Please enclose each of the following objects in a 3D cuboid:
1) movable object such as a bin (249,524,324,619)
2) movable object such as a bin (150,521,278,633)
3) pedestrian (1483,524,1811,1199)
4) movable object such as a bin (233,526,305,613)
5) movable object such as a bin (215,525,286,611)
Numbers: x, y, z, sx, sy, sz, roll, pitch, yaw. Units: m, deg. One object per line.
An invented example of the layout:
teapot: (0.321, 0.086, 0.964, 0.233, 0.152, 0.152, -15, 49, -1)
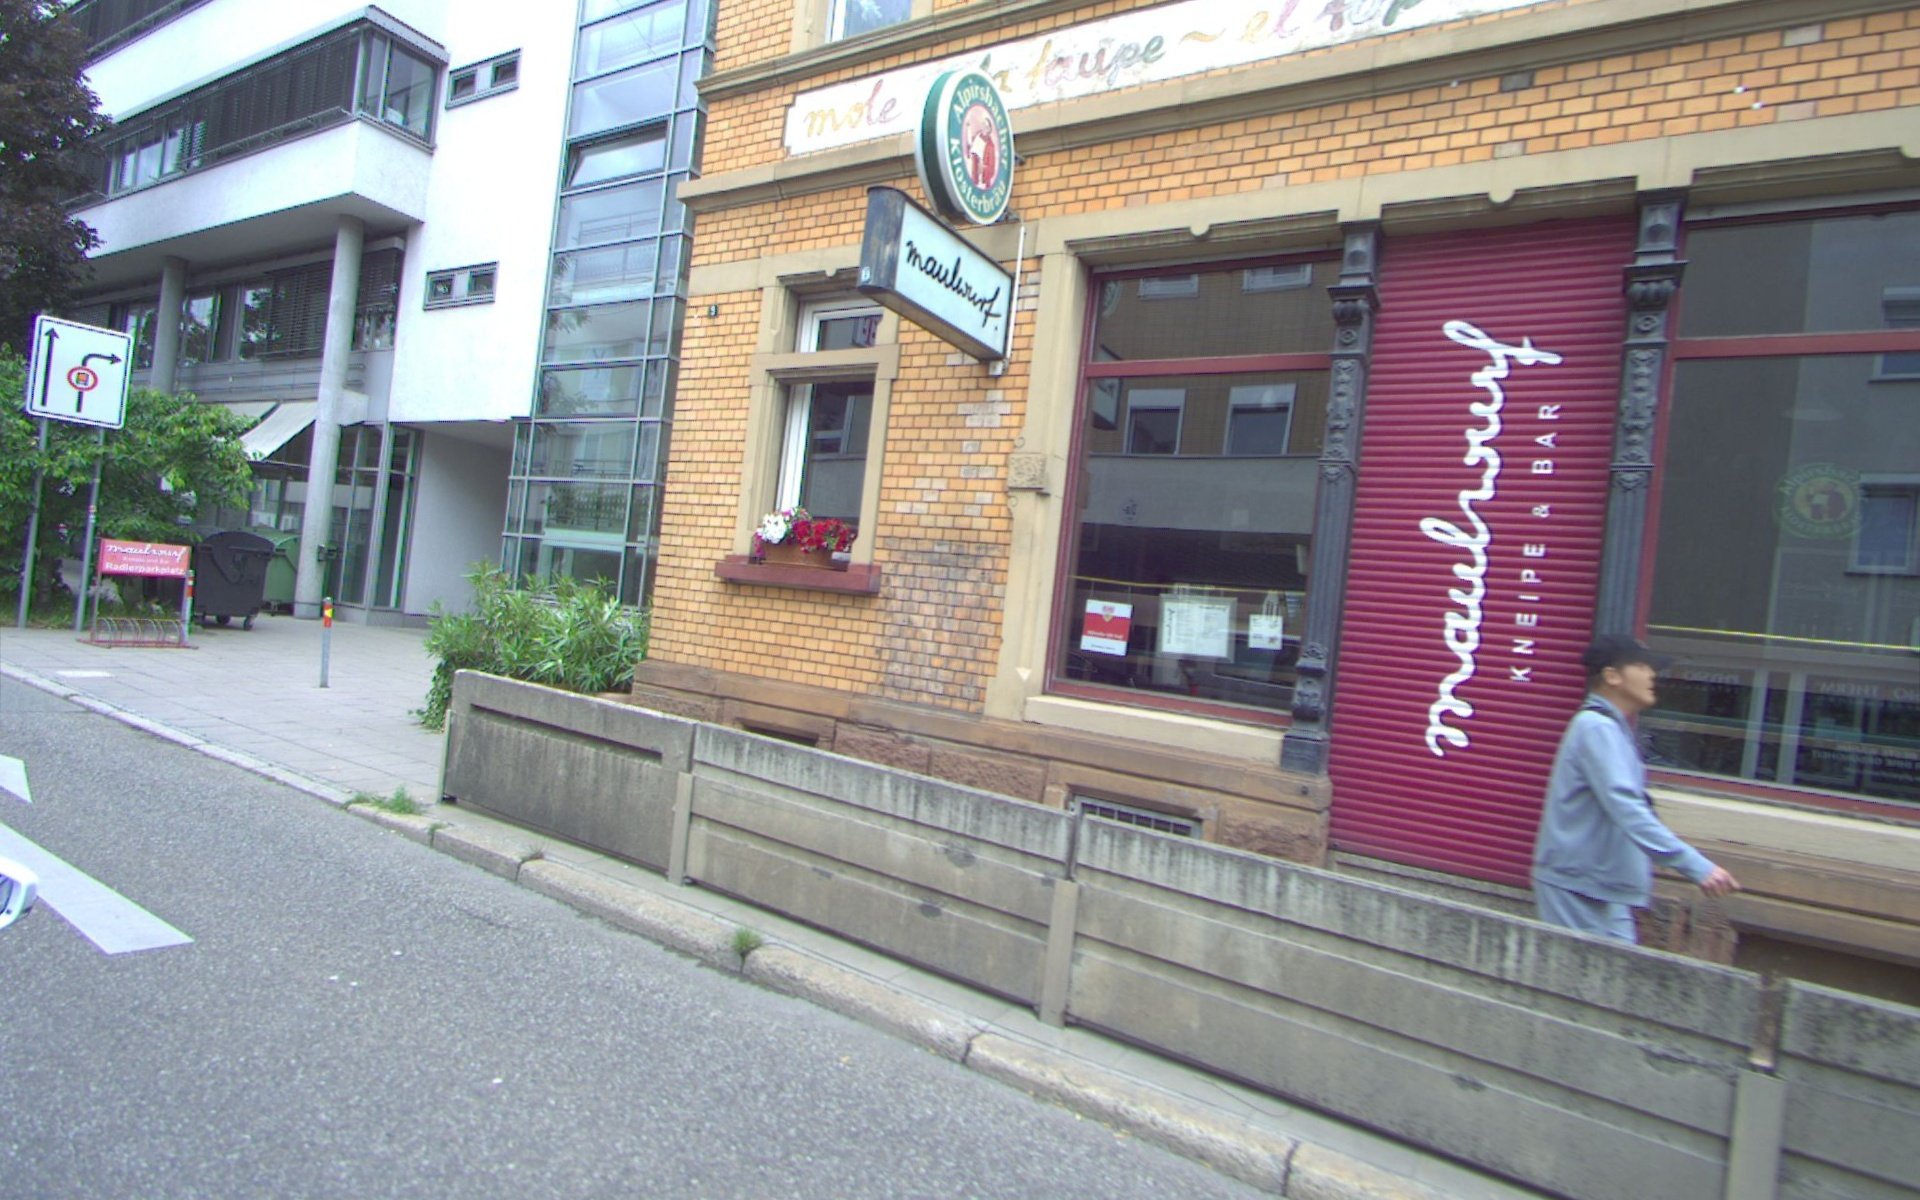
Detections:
movable object such as a bin: (-12.075, -0.501, 18.046, 0.720, 1.610, 0.821, 5, 1, 33)
movable object such as a bin: (-11.024, -0.337, 14.867, 1.421, 1.489, 0.944, 6, 1, 30)
pedestrian: (2.319, 0.818, 3.484, 0.665, 2.038, 0.694, 7, 0, 31)
movable object such as a bin: (-12.685, -0.551, 18.469, 0.720, 1.509, 0.821, 5, 1, 33)
movable object such as a bin: (-13.310, -0.589, 18.874, 0.720, 1.523, 0.821, 5, 1, 33)
